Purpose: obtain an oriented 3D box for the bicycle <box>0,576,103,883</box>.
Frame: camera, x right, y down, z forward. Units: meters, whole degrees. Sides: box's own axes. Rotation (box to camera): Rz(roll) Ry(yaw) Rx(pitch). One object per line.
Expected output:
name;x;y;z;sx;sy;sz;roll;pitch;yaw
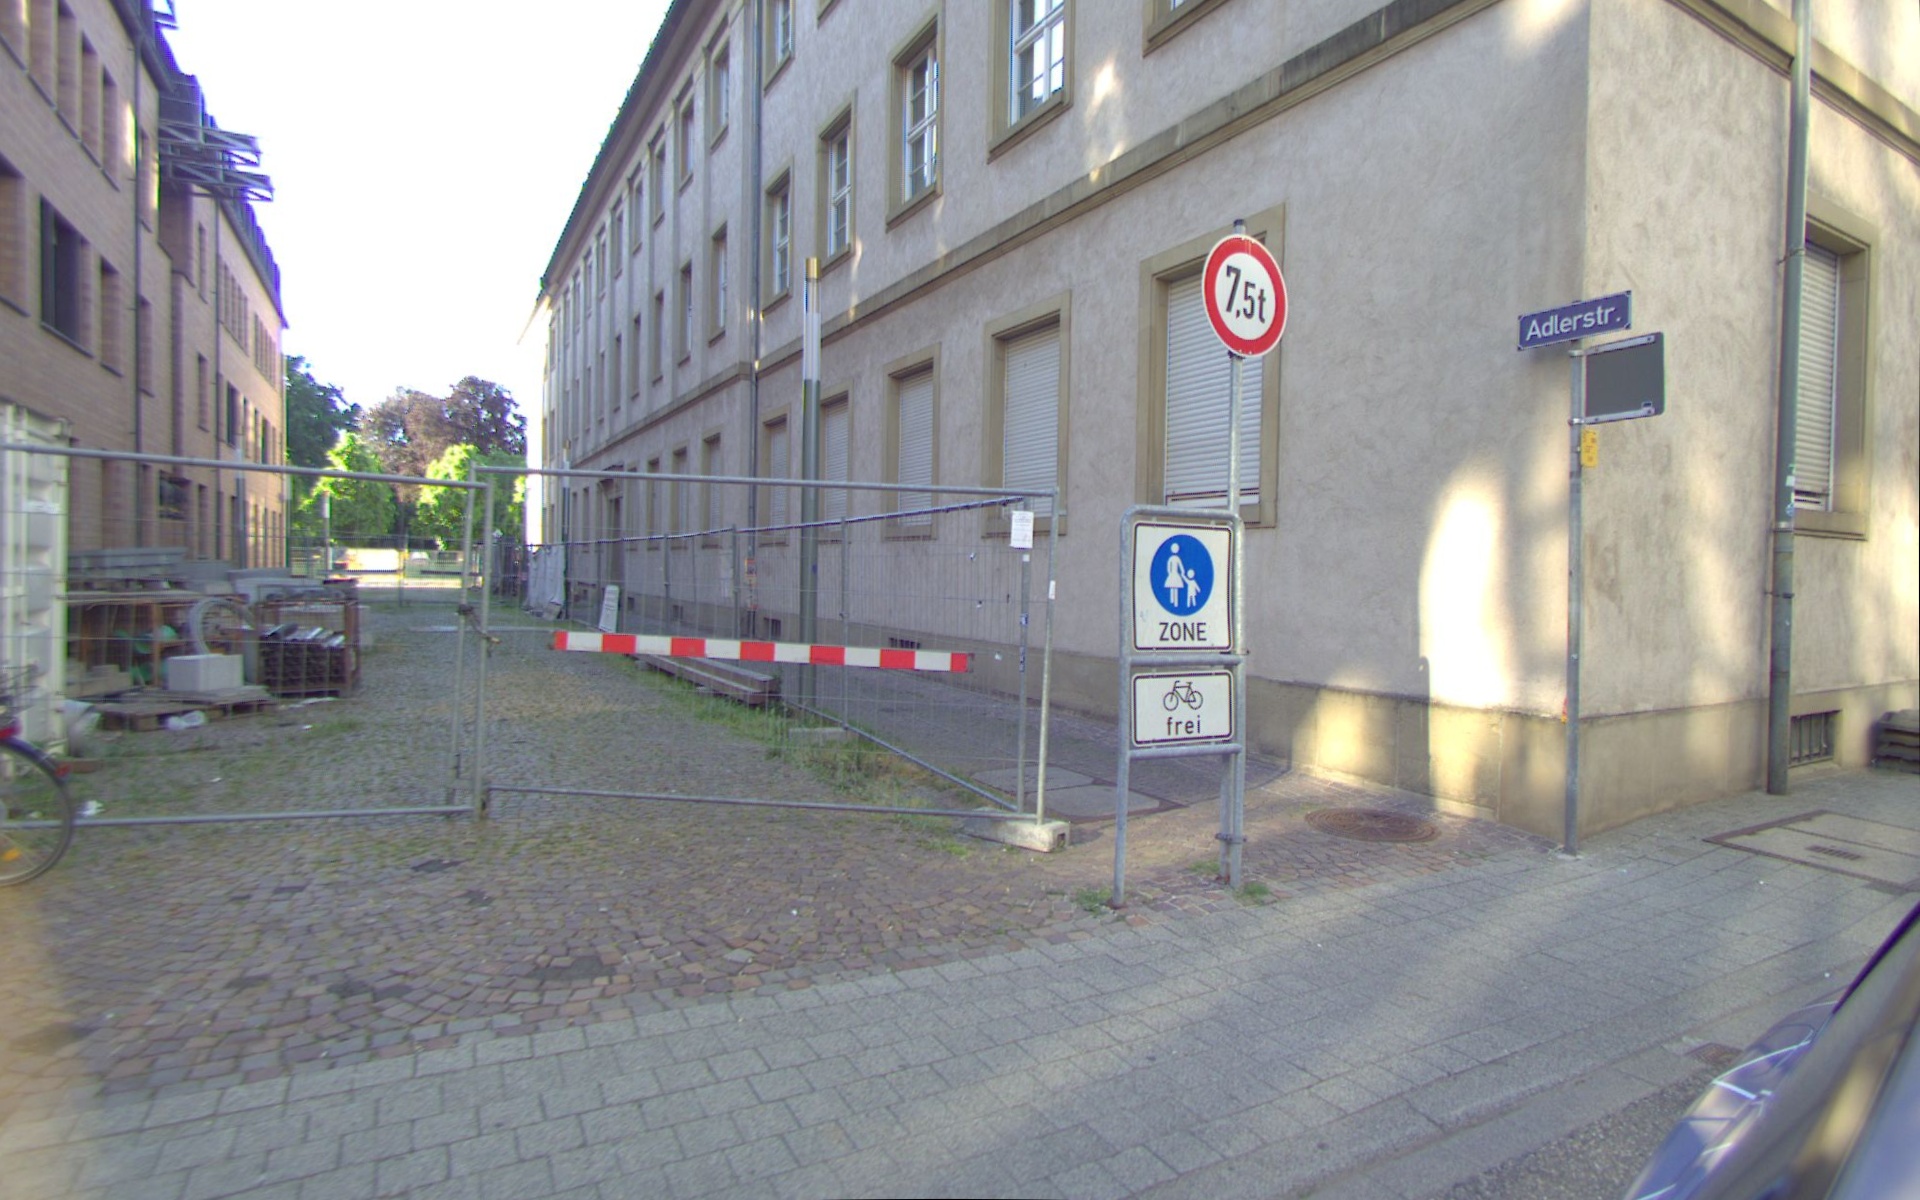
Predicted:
bicycle;-4.559;0.529;4.216;1.550;1.265;0.321;1;1;-11
